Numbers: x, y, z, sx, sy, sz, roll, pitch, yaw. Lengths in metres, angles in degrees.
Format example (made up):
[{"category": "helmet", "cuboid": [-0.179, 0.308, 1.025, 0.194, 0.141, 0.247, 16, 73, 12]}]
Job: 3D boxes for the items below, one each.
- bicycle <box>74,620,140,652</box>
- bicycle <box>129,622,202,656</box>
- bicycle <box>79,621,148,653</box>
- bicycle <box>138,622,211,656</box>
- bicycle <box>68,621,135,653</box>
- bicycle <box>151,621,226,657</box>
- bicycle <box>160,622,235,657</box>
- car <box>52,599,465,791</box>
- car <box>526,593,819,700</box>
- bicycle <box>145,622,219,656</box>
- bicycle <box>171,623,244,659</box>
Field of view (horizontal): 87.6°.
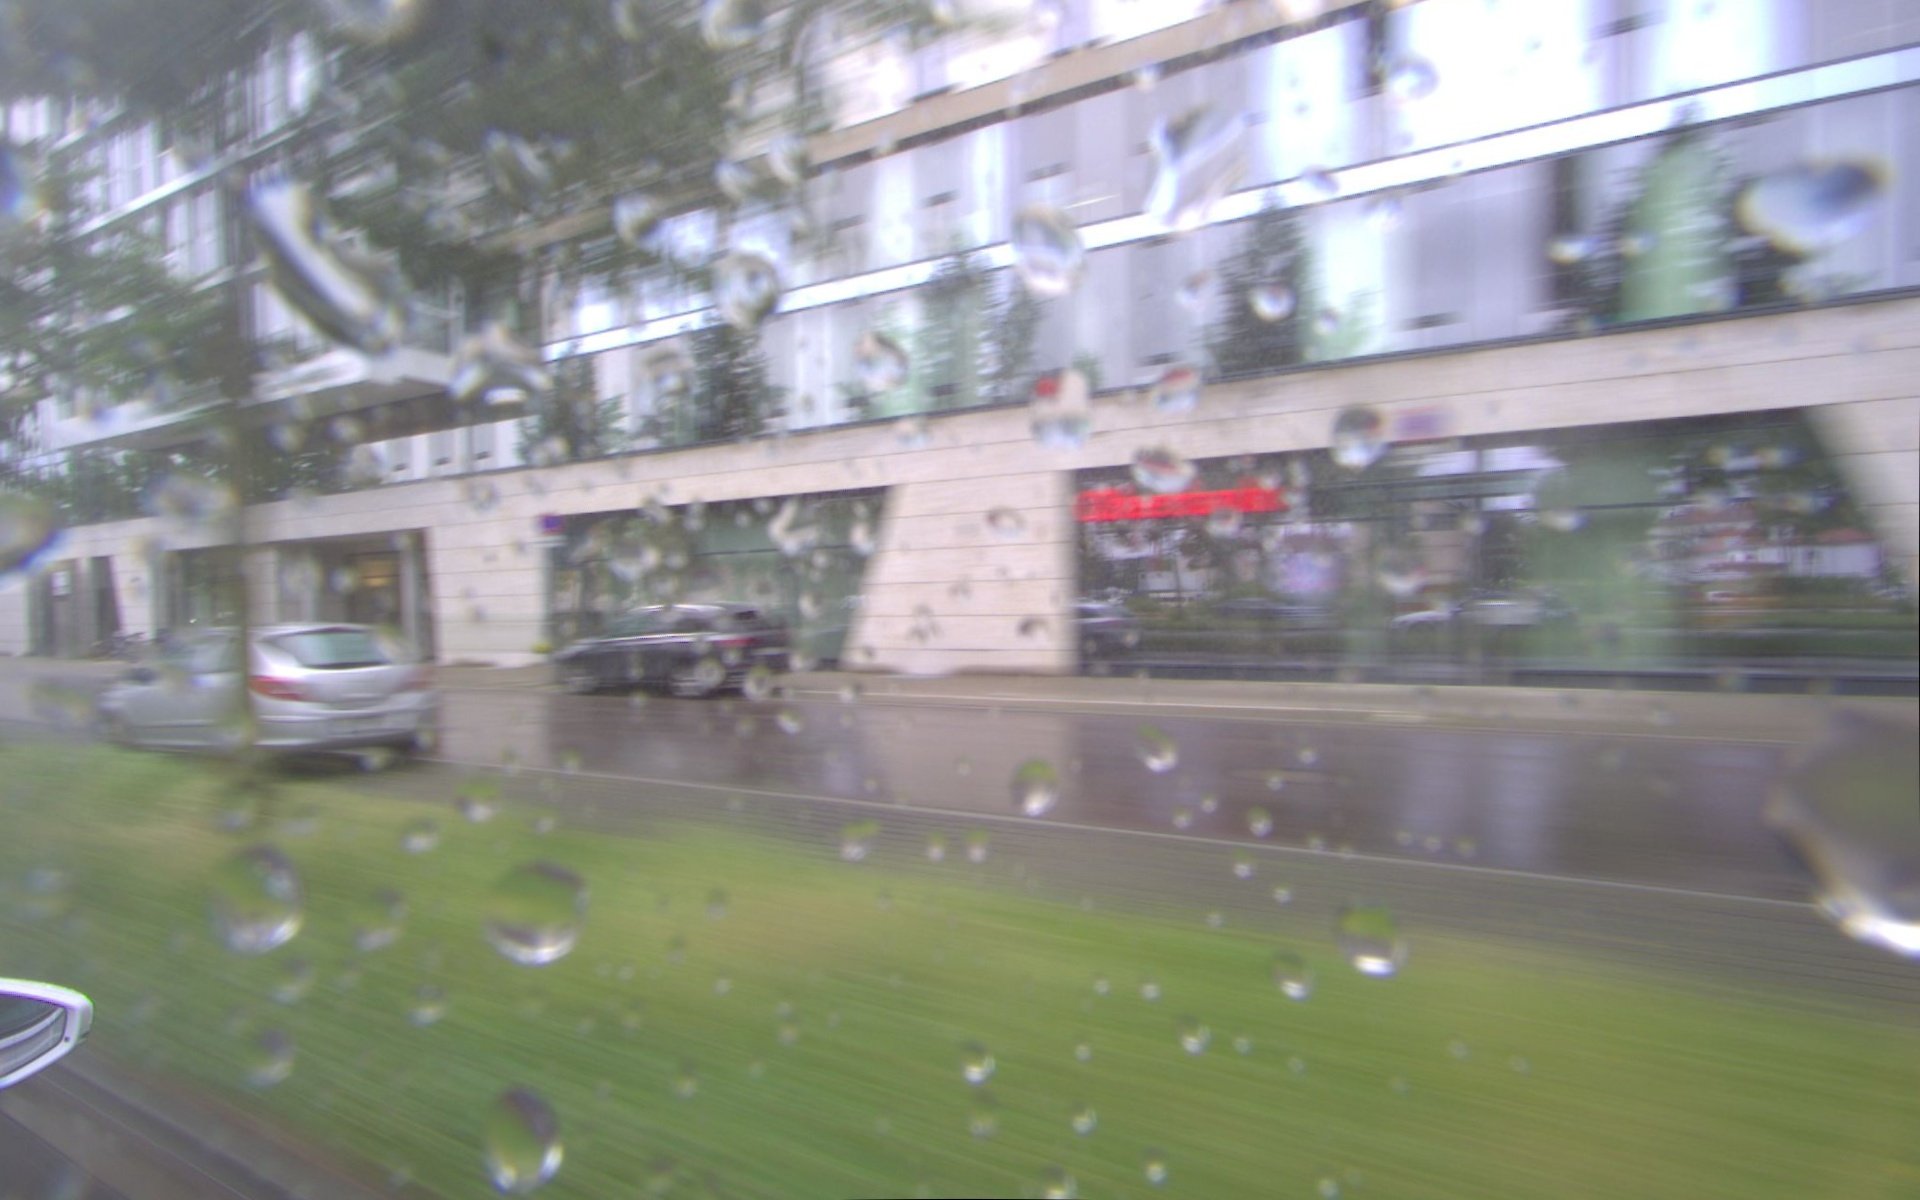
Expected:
[{"category": "bicycle", "cuboid": [-29.451, 1.243, 34.597, 0.417, 1.042, 1.690, -1, 1, 32]}, {"category": "bicycle", "cuboid": [-26.309, 1.281, 33.192, 0.533, 1.042, 1.802, -1, 1, 32]}, {"category": "bicycle", "cuboid": [-28.994, 1.253, 34.316, 0.406, 1.042, 1.746, -1, 1, 32]}, {"category": "bicycle", "cuboid": [-25.688, 1.266, 32.781, 0.533, 1.042, 1.802, -1, 1, 32]}, {"category": "bicycle", "cuboid": [-29.882, 1.280, 34.877, 0.417, 1.042, 1.690, -1, 1, 32]}, {"category": "bicycle", "cuboid": [-24.680, 1.237, 32.058, 0.533, 1.042, 1.802, -1, 1, 32]}, {"category": "bicycle", "cuboid": [-24.154, 1.234, 31.765, 0.533, 1.042, 1.802, -1, 1, 32]}, {"category": "car", "cuboid": [-7.607, 0.833, 10.757, 4.652, 1.527, 1.878, 2, 2, 30]}, {"category": "car", "cuboid": [-5.025, 0.696, 17.300, 4.958, 1.522, 1.989, 1, 3, 31]}, {"category": "bicycle", "cuboid": [-25.156, 1.251, 32.422, 0.533, 1.042, 1.802, -1, 1, 32]}, {"category": "bicycle", "cuboid": [-23.573, 1.273, 31.401, 0.396, 1.042, 1.802, -1, 1, 32]}]
